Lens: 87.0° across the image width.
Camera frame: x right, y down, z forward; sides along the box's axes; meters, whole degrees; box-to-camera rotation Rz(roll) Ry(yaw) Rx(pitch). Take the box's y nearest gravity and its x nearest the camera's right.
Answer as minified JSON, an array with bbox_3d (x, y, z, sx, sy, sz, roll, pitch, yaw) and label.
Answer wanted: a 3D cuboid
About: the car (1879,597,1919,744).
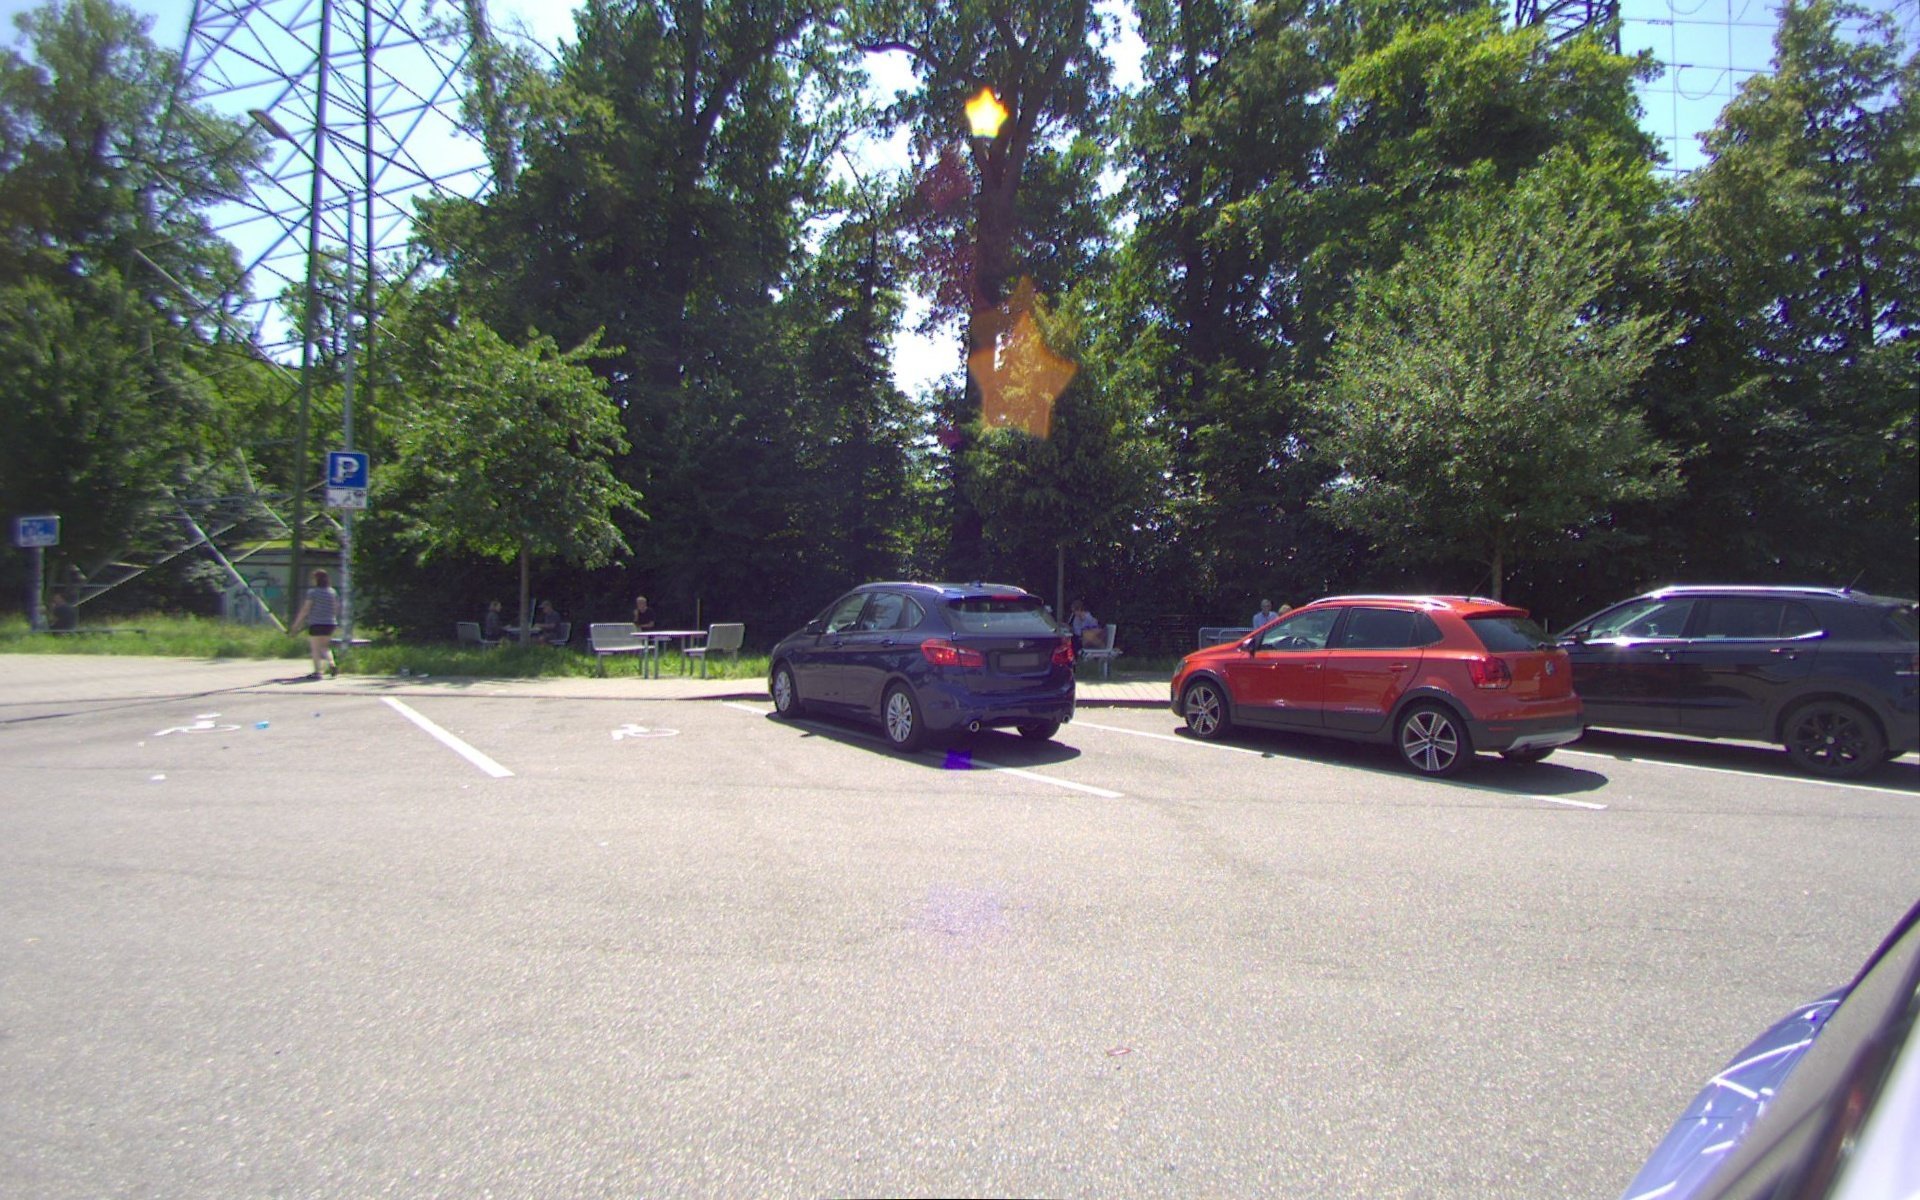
[{"bbox_3d":[10.916,0.694,9.011,1.620,1.420,3.826,0,0,-37],"label":"car"}]

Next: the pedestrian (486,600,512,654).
[{"bbox_3d":[-10.414,0.605,22.860,0.452,1.182,0.447,0,0,-34],"label":"pedestrian"}]

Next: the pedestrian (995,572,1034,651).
[{"bbox_3d":[1.147,0.229,21.173,0.569,1.625,0.639,0,0,35],"label":"pedestrian"}]

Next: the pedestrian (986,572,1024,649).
[{"bbox_3d":[0.975,0.224,21.822,0.569,1.625,0.639,0,0,35],"label":"pedestrian"}]

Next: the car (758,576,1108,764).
[{"bbox_3d":[-0.522,0.543,10.790,1.714,1.572,4.347,0,1,-33],"label":"car"}]

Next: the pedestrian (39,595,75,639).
[{"bbox_3d":[-20.932,0.390,23.460,0.452,0.987,0.447,0,0,-2],"label":"pedestrian"}]

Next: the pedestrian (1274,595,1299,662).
[{"bbox_3d":[5.790,0.495,17.951,0.350,1.180,0.384,0,0,8],"label":"pedestrian"}]

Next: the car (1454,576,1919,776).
[{"bbox_3d":[7.116,0.584,9.866,1.620,1.575,3.826,0,0,-37],"label":"car"}]

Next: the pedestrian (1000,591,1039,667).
[{"bbox_3d":[1.009,0.488,17.114,0.586,1.261,0.445,0,0,16],"label":"pedestrian"}]

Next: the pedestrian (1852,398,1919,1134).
[{"bbox_3d":[2.952,0.448,2.435,0.799,1.974,0.919,0,0,5],"label":"pedestrian"}]

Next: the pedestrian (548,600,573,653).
[{"bbox_3d":[-9.325,0.606,23.601,0.452,1.209,0.447,0,0,-34],"label":"pedestrian"}]

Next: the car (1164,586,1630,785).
[{"bbox_3d":[3.900,0.626,9.650,1.619,1.487,3.830,0,0,-33],"label":"car"}]

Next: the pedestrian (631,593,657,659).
[{"bbox_3d":[-6.666,0.537,21.348,0.438,1.363,0.462,0,0,-5],"label":"pedestrian"}]

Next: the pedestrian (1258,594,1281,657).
[{"bbox_3d":[5.839,0.483,19.127,0.350,1.180,0.384,0,0,8],"label":"pedestrian"}]

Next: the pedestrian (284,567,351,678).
[{"bbox_3d":[-9.966,0.337,15.702,0.711,1.670,0.678,0,0,37],"label":"pedestrian"}]

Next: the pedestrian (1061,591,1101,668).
[{"bbox_3d":[2.023,0.485,16.858,0.586,1.261,0.498,0,0,16],"label":"pedestrian"}]
